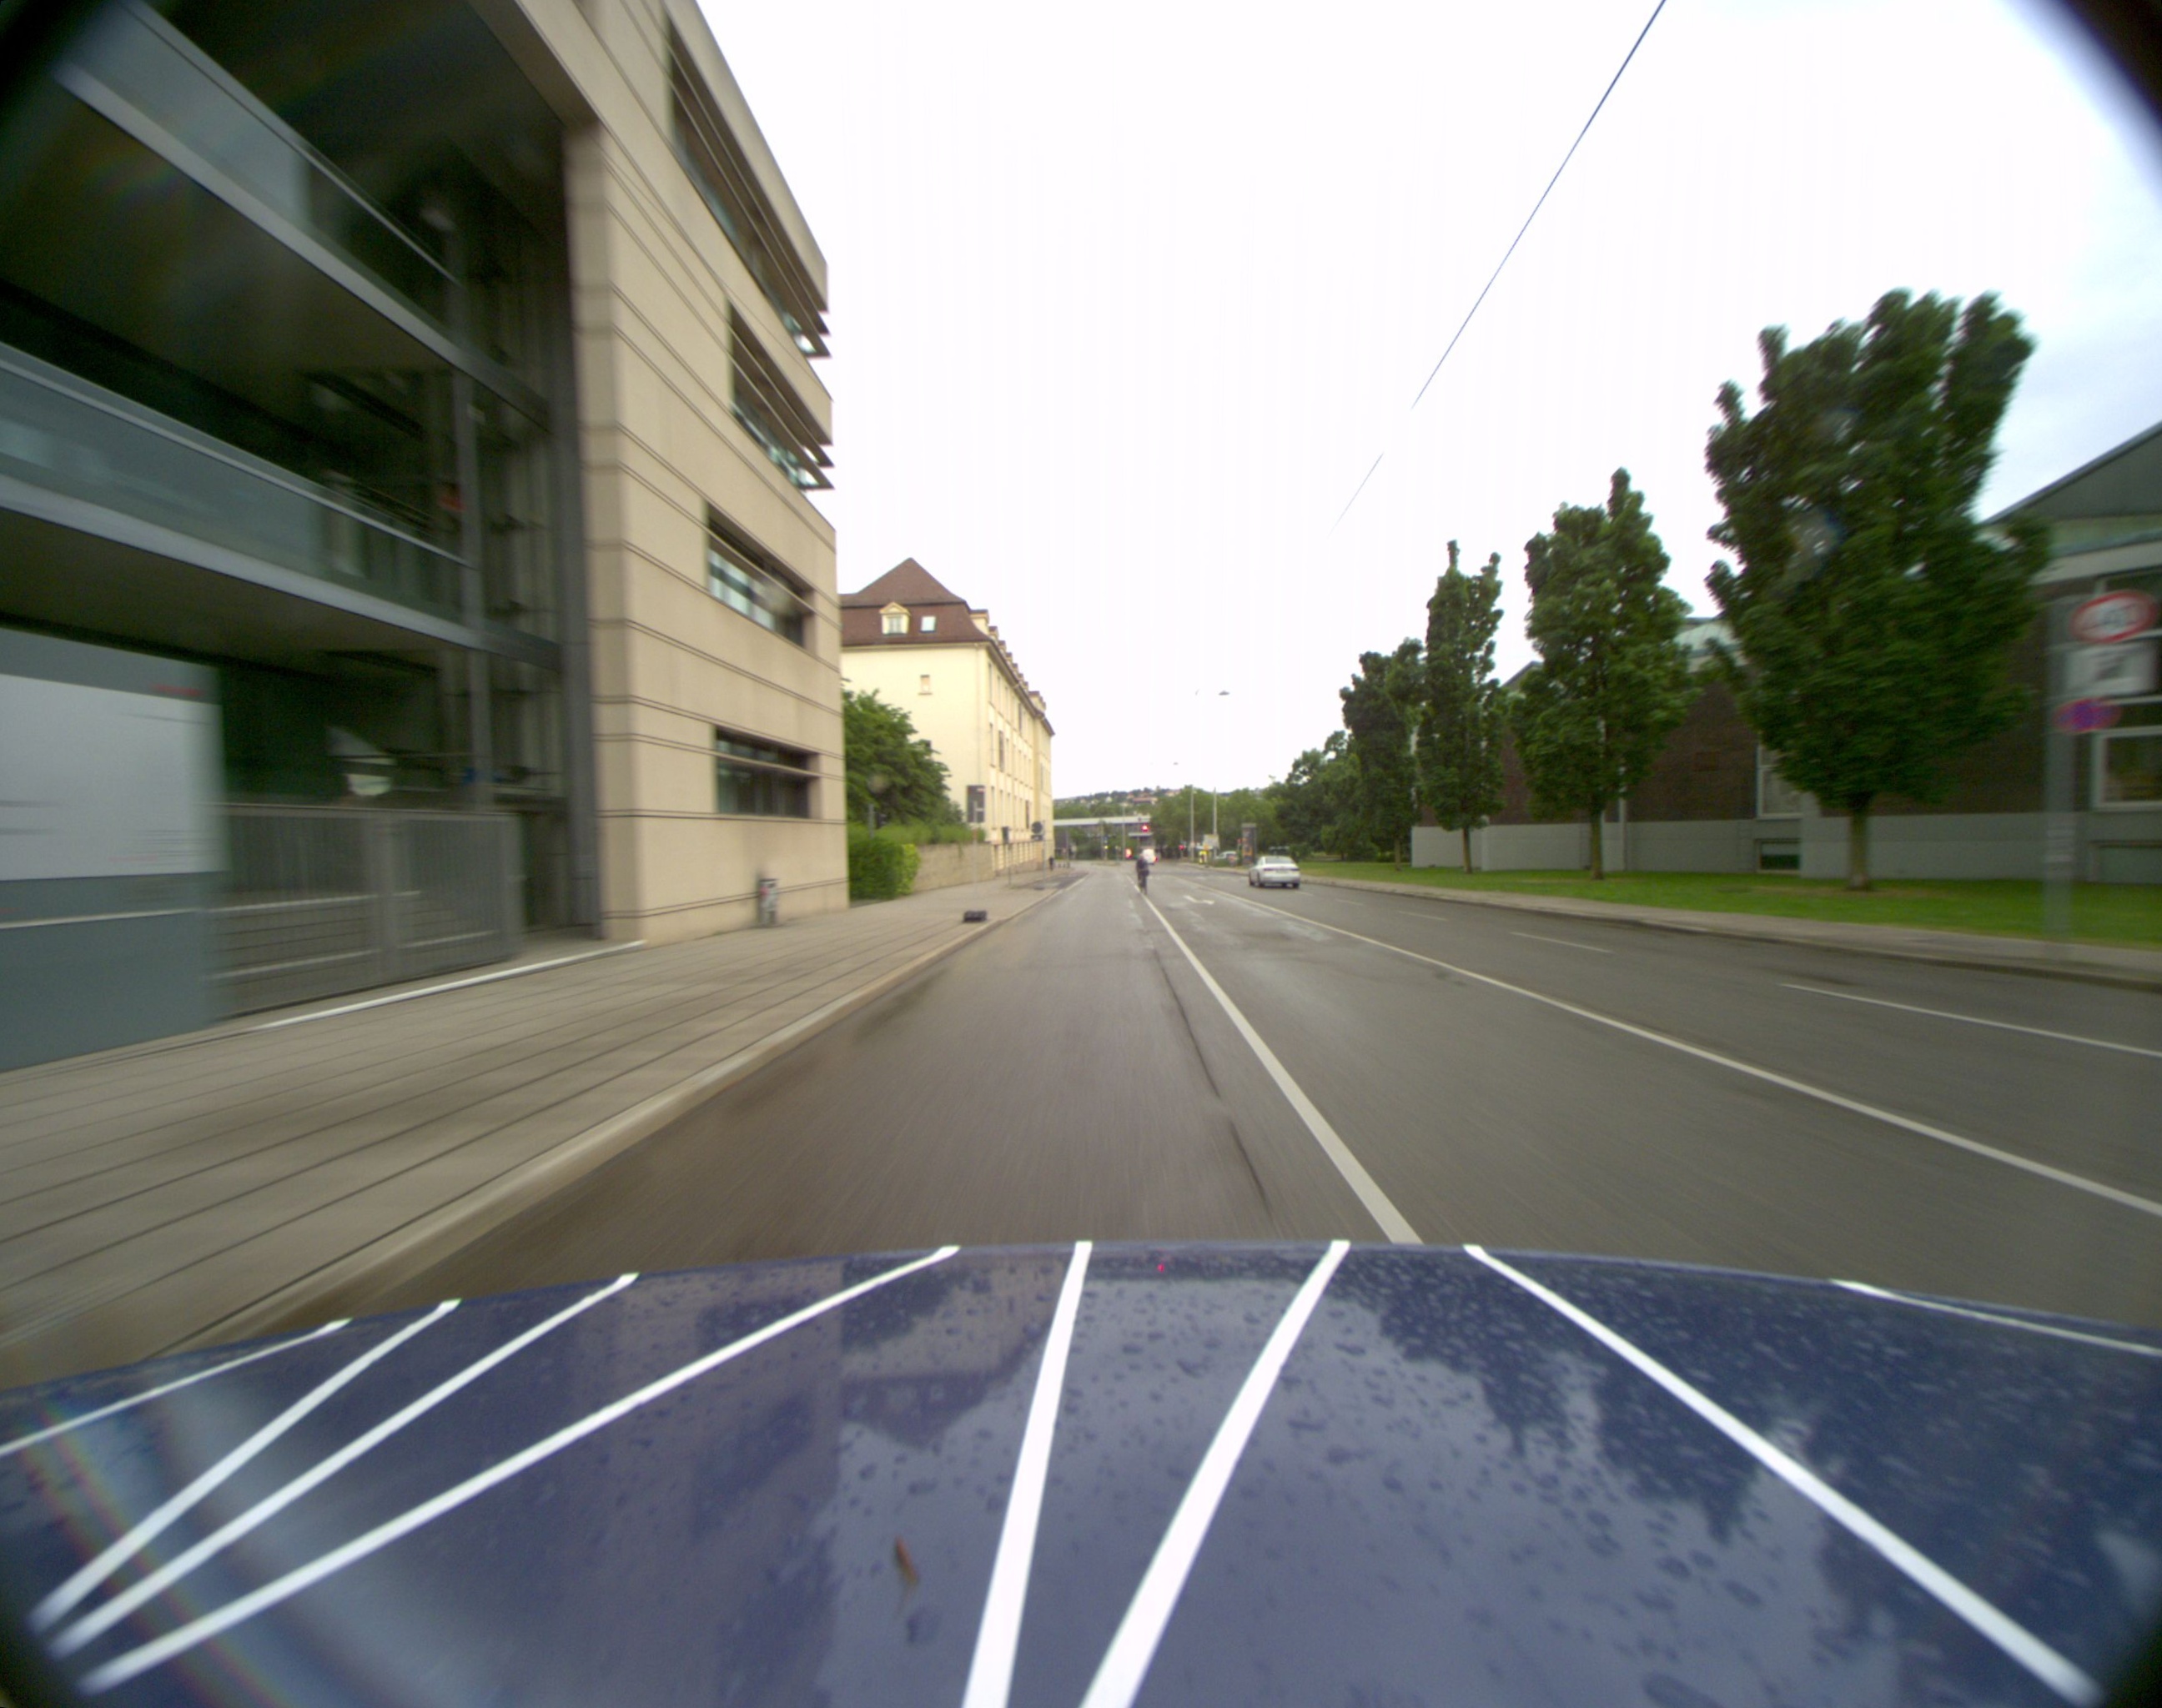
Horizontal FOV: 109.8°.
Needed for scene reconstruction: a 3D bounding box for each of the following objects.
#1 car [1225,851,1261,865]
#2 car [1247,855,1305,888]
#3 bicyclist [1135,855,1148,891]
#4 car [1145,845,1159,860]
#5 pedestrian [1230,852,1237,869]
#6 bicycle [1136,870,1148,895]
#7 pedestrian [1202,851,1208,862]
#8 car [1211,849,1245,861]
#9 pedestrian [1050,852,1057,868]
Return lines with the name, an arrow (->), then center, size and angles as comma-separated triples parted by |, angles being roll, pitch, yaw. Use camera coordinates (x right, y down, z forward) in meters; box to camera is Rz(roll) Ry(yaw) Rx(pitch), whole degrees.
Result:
car -> 20.902, 0.516, 98.323 | 1.871, 1.600, 4.515 | -3, 1, -31
car -> 9.506, 0.808, 37.427 | 1.885, 1.482, 5.221 | 1, 0, 5
bicyclist -> 2.468, 0.774, 30.879 | 0.485, 1.425, 0.930 | -2, 1, 5
car -> 12.047, -0.250, 129.023 | 1.988, 2.514, 5.631 | 0, 0, 0
pedestrian -> 15.301, 0.617, 76.264 | 0.671, 1.677, 0.914 | -2, 1, 10
bicycle -> 2.481, 1.128, 30.869 | 0.448, 0.957, 1.690 | -1, 0, 5
pedestrian -> 18.311, 0.372, 112.394 | 0.629, 1.686, 0.642 | -2, 1, -5
car -> 22.293, 0.192, 115.117 | 4.710, 1.745, 2.020 | -1, 1, 44
pedestrian -> -2.941, 0.629, 81.746 | 0.671, 1.787, 0.852 | 0, 1, 4
